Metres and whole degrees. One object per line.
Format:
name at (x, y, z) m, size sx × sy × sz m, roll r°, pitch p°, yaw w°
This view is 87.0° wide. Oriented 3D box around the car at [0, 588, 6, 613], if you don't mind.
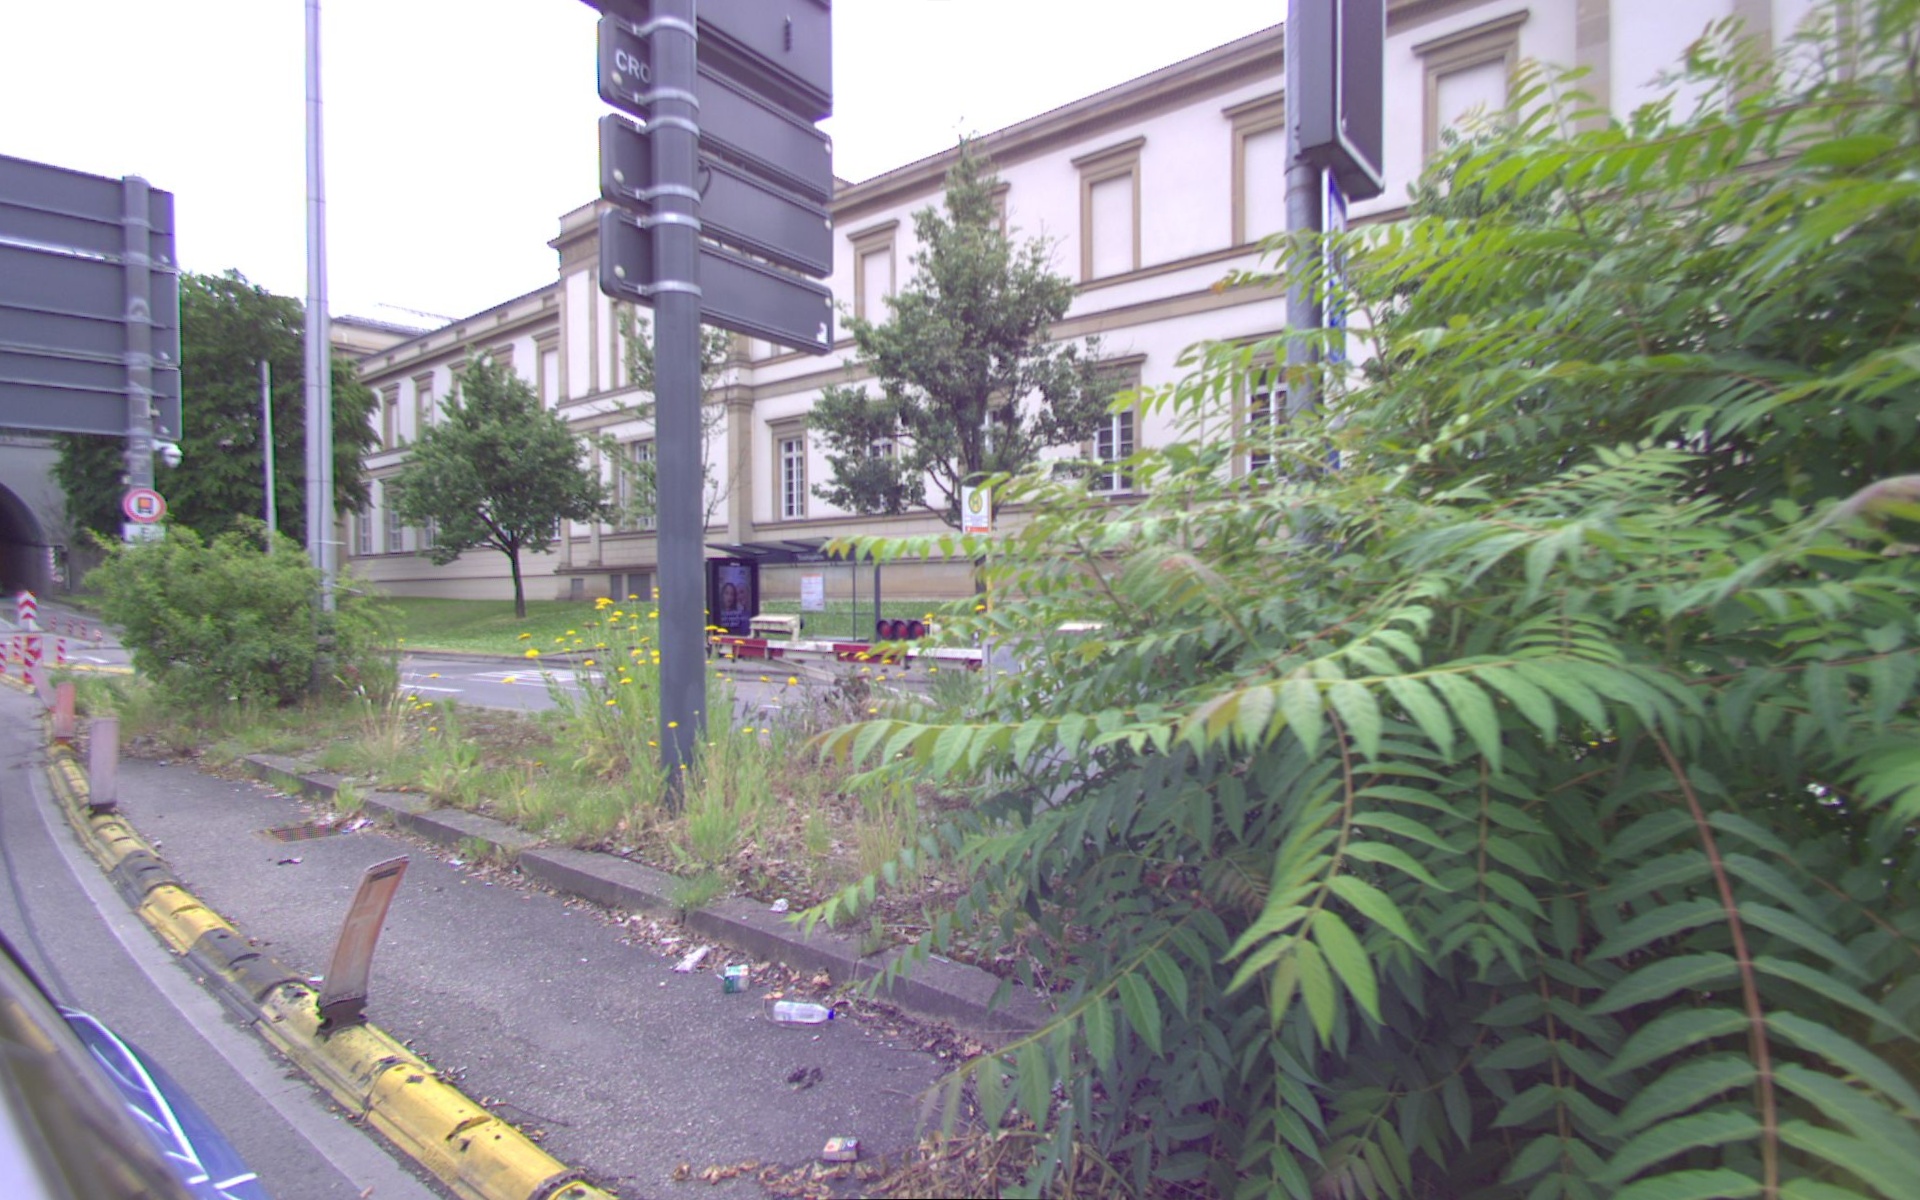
car at (-70.107, 0.029, 72.906) m, size 4.001 × 1.759 × 1.812 m, roll 0°, pitch 0°, yaw 44°
